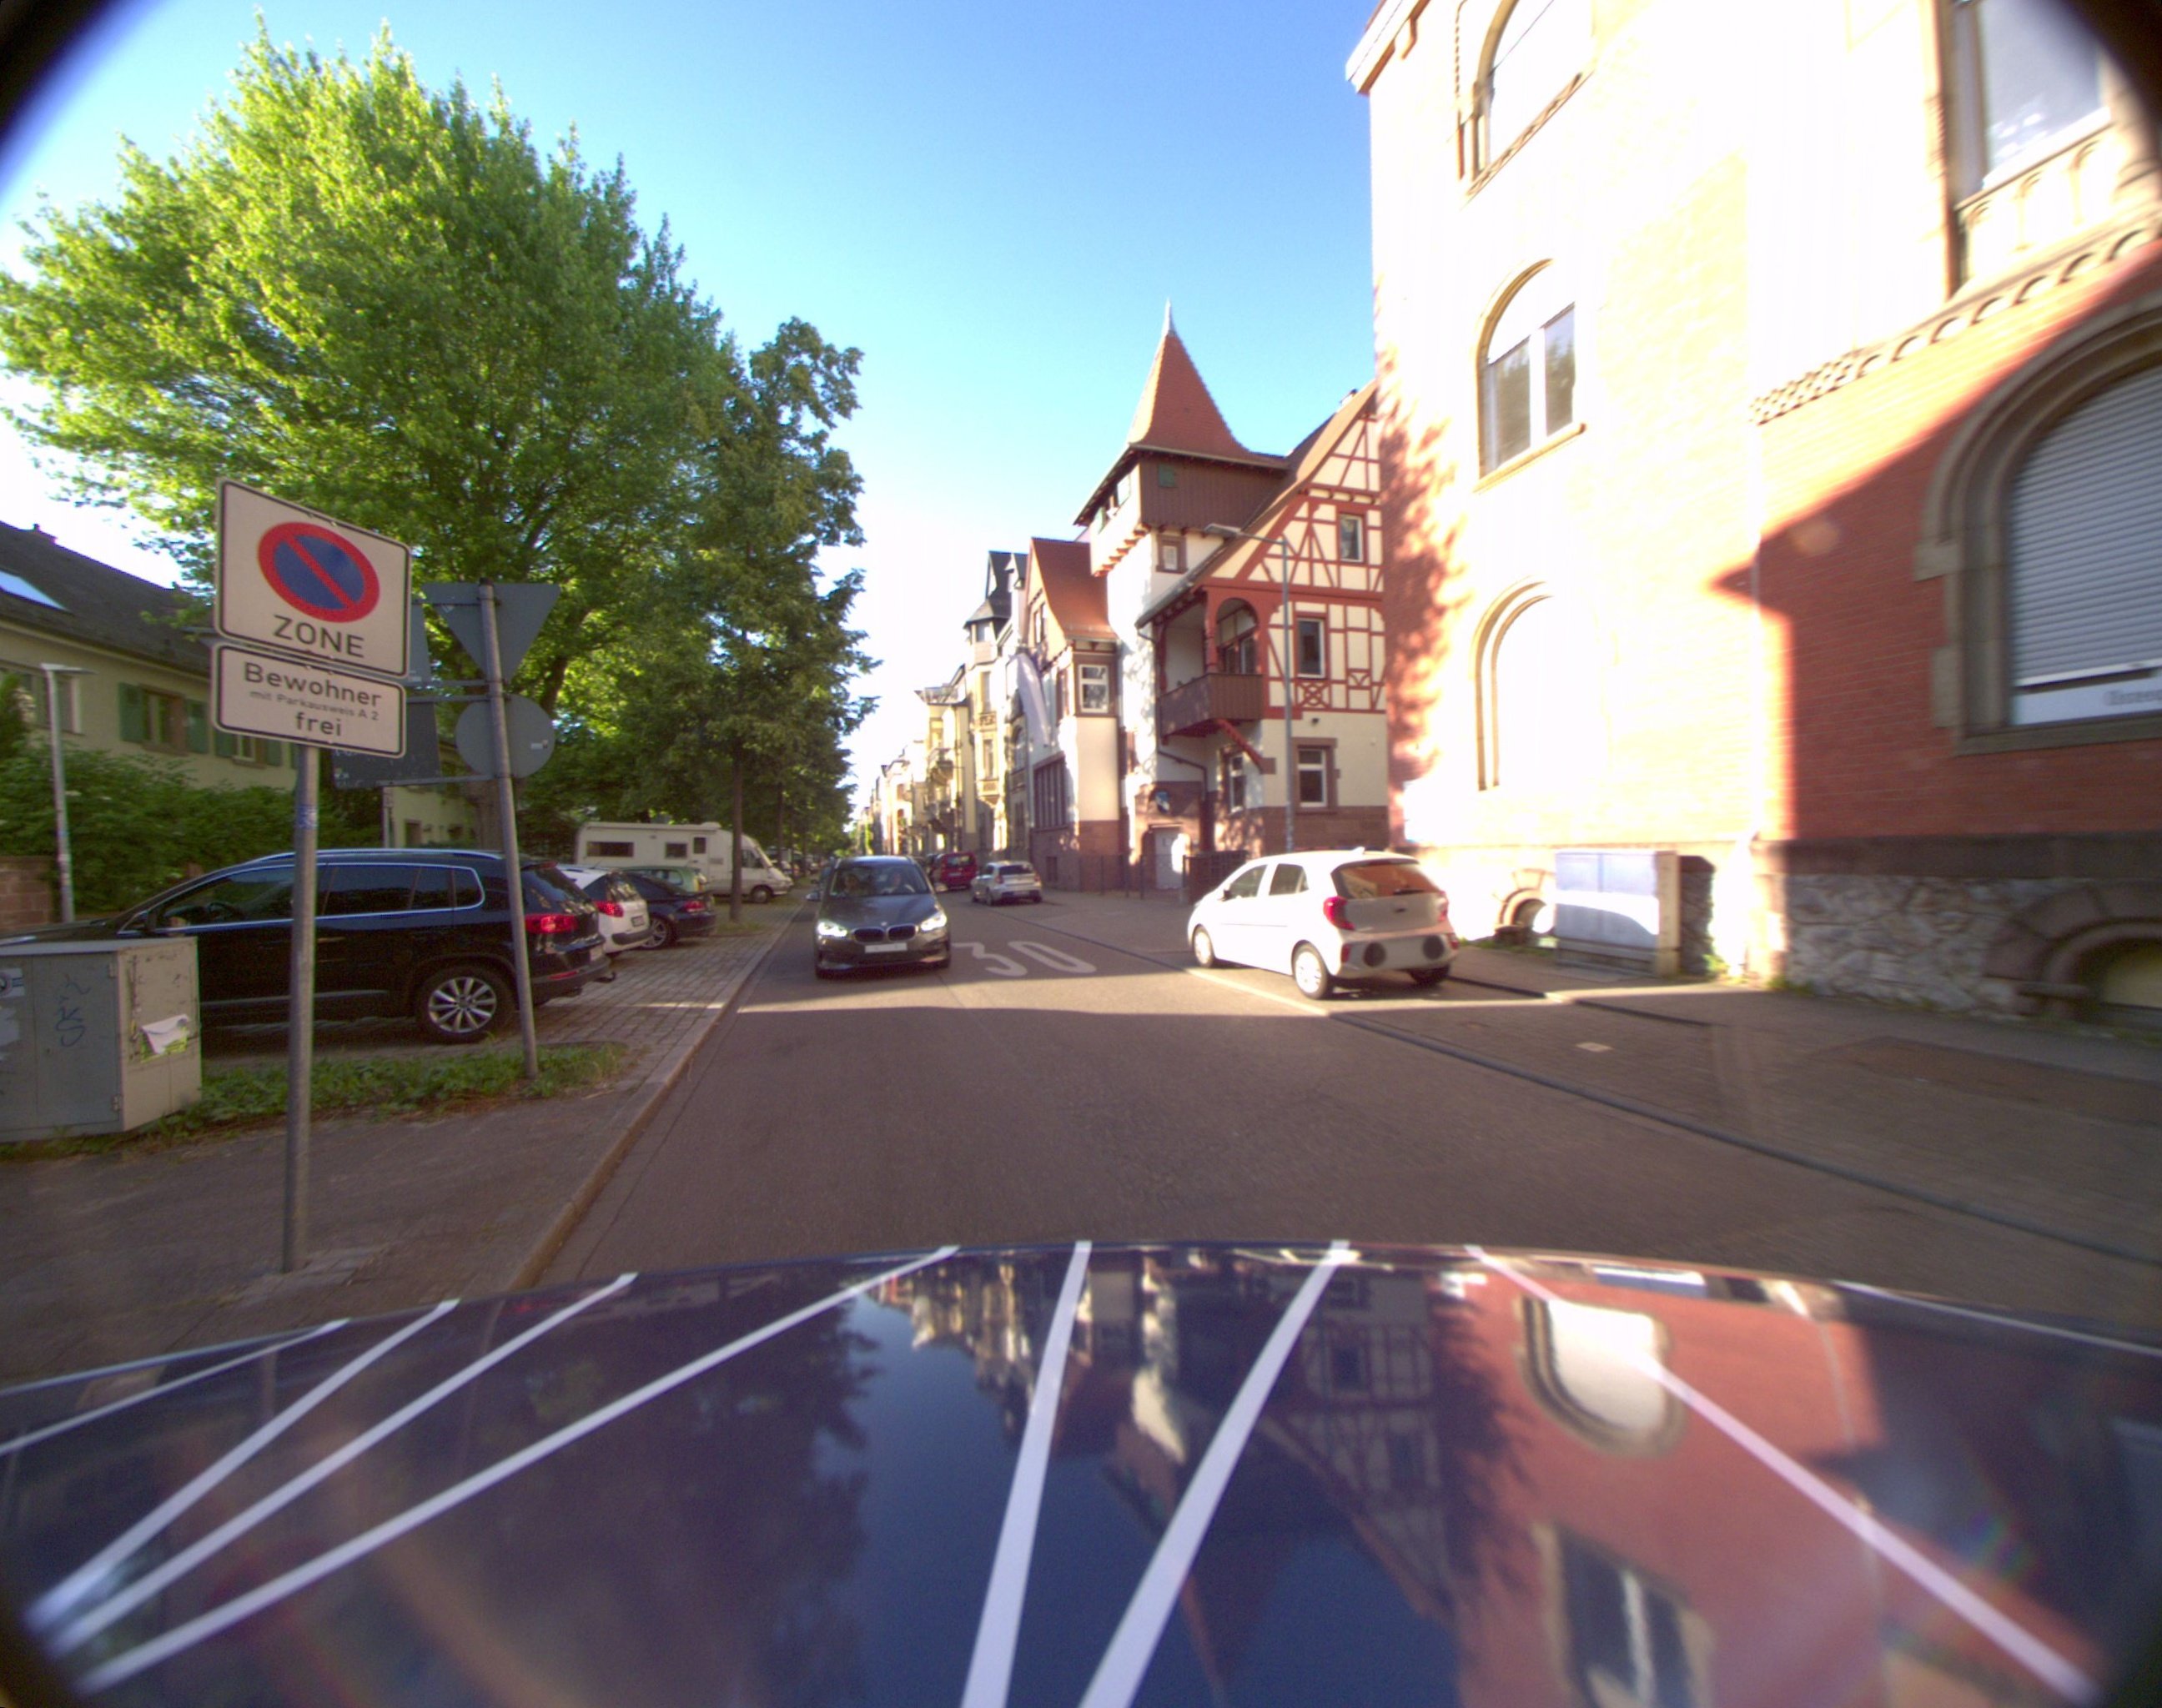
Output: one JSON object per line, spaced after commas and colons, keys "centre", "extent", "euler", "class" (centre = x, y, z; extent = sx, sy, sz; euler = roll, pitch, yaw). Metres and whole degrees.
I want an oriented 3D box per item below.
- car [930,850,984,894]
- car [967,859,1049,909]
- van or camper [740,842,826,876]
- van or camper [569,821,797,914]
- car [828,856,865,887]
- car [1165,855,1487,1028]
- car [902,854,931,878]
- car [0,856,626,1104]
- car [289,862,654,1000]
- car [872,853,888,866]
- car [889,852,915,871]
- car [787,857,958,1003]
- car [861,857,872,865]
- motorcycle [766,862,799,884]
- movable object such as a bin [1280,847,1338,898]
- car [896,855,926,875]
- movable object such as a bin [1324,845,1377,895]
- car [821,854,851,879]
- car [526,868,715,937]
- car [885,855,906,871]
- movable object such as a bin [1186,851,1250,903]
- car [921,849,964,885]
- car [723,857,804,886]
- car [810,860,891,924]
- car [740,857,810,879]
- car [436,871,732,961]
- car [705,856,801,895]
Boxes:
{"centre": [-5.962, 0.798, 36.122], "extent": [1.805, 1.896, 4.317], "euler": [-4, 1, -17], "class": "car"}
{"centre": [-2.543, 0.936, 25.600], "extent": [1.751, 1.458, 4.096], "euler": [-3, 1, -19], "class": "car"}
{"centre": [-27.671, 0.453, 70.880], "extent": [7.277, 2.888, 2.423], "euler": [-2, 2, -18], "class": "van or camper"}
{"centre": [-14.322, 0.405, 28.032], "extent": [7.105, 3.060, 2.460], "euler": [-2, 1, -20], "class": "van or camper"}
{"centre": [-14.196, 0.995, 46.004], "extent": [2.001, 1.745, 3.994], "euler": [-2, 1, -17], "class": "car"}
{"centre": [2.588, 0.805, 9.040], "extent": [1.711, 1.477, 3.791], "euler": [-4, 1, -17], "class": "car"}
{"centre": [-11.939, 0.845, 55.150], "extent": [1.690, 1.501, 2.856], "euler": [-6, 2, -17], "class": "car"}
{"centre": [-6.658, 0.908, 6.819], "extent": [4.124, 1.702, 2.020], "euler": [-1, 0, -22], "class": "car"}
{"centre": [-8.560, 1.010, 11.055], "extent": [3.707, 1.641, 1.702], "euler": [-2, 1, -14], "class": "car"}
{"centre": [-28.298, 0.738, 106.743], "extent": [1.865, 1.595, 3.994], "euler": [-4, 1, -18], "class": "car"}
{"centre": [-16.364, 0.679, 69.326], "extent": [1.696, 1.458, 3.767], "euler": [-6, 2, -20], "class": "car"}
{"centre": [-3.209, 0.927, 11.578], "extent": [1.926, 1.597, 4.510], "euler": [-5, 1, -17], "class": "car"}
{"centre": [-39.948, 1.278, 141.351], "extent": [1.704, 1.372, 3.994], "euler": [-2, 1, -18], "class": "car"}
{"centre": [-16.933, 1.098, 43.048], "extent": [1.772, 1.190, 0.739], "euler": [-1, 1, 28], "class": "motorcycle"}
{"centre": [6.279, 0.490, 20.892], "extent": [1.386, 1.310, 0.685], "euler": [-3, 1, -25], "class": "movable object such as a bin"}
{"centre": [-14.298, 0.916, 63.648], "extent": [1.907, 1.431, 4.534], "euler": [-6, 2, -18], "class": "car"}
{"centre": [7.521, 0.436, 21.228], "extent": [1.205, 1.302, 0.630], "euler": [-2, 1, -16], "class": "movable object such as a bin"}
{"centre": [-18.188, 0.922, 56.508], "extent": [2.001, 1.745, 3.994], "euler": [-2, 1, -17], "class": "car"}
{"centre": [-11.072, 1.128, 18.548], "extent": [3.603, 1.496, 1.675], "euler": [-1, 0, -17], "class": "car"}
{"centre": [-18.595, 0.895, 76.051], "extent": [1.749, 1.457, 3.992], "euler": [-4, 1, -17], "class": "car"}
{"centre": [3.623, 0.592, 20.170], "extent": [1.380, 1.291, 0.967], "euler": [-2, 1, -8], "class": "movable object such as a bin"}
{"centre": [-7.828, 0.693, 42.718], "extent": [1.777, 1.841, 4.535], "euler": [-3, 1, -17], "class": "car"}
{"centre": [-18.988, 1.014, 45.634], "extent": [4.351, 1.599, 1.924], "euler": [0, 1, -19], "class": "car"}
{"centre": [-6.809, 1.017, 22.467], "extent": [2.001, 1.584, 4.256], "euler": [-4, 1, -17], "class": "car"}
{"centre": [-21.835, 0.991, 54.336], "extent": [4.475, 1.469, 1.750], "euler": [1, 0, -17], "class": "car"}
{"centre": [-8.676, 1.052, 13.700], "extent": [4.121, 1.403, 1.789], "euler": [1, 0, -17], "class": "car"}
{"centre": [-15.250, 0.978, 35.524], "extent": [3.930, 1.734, 1.726], "euler": [1, 1, -18], "class": "car"}
